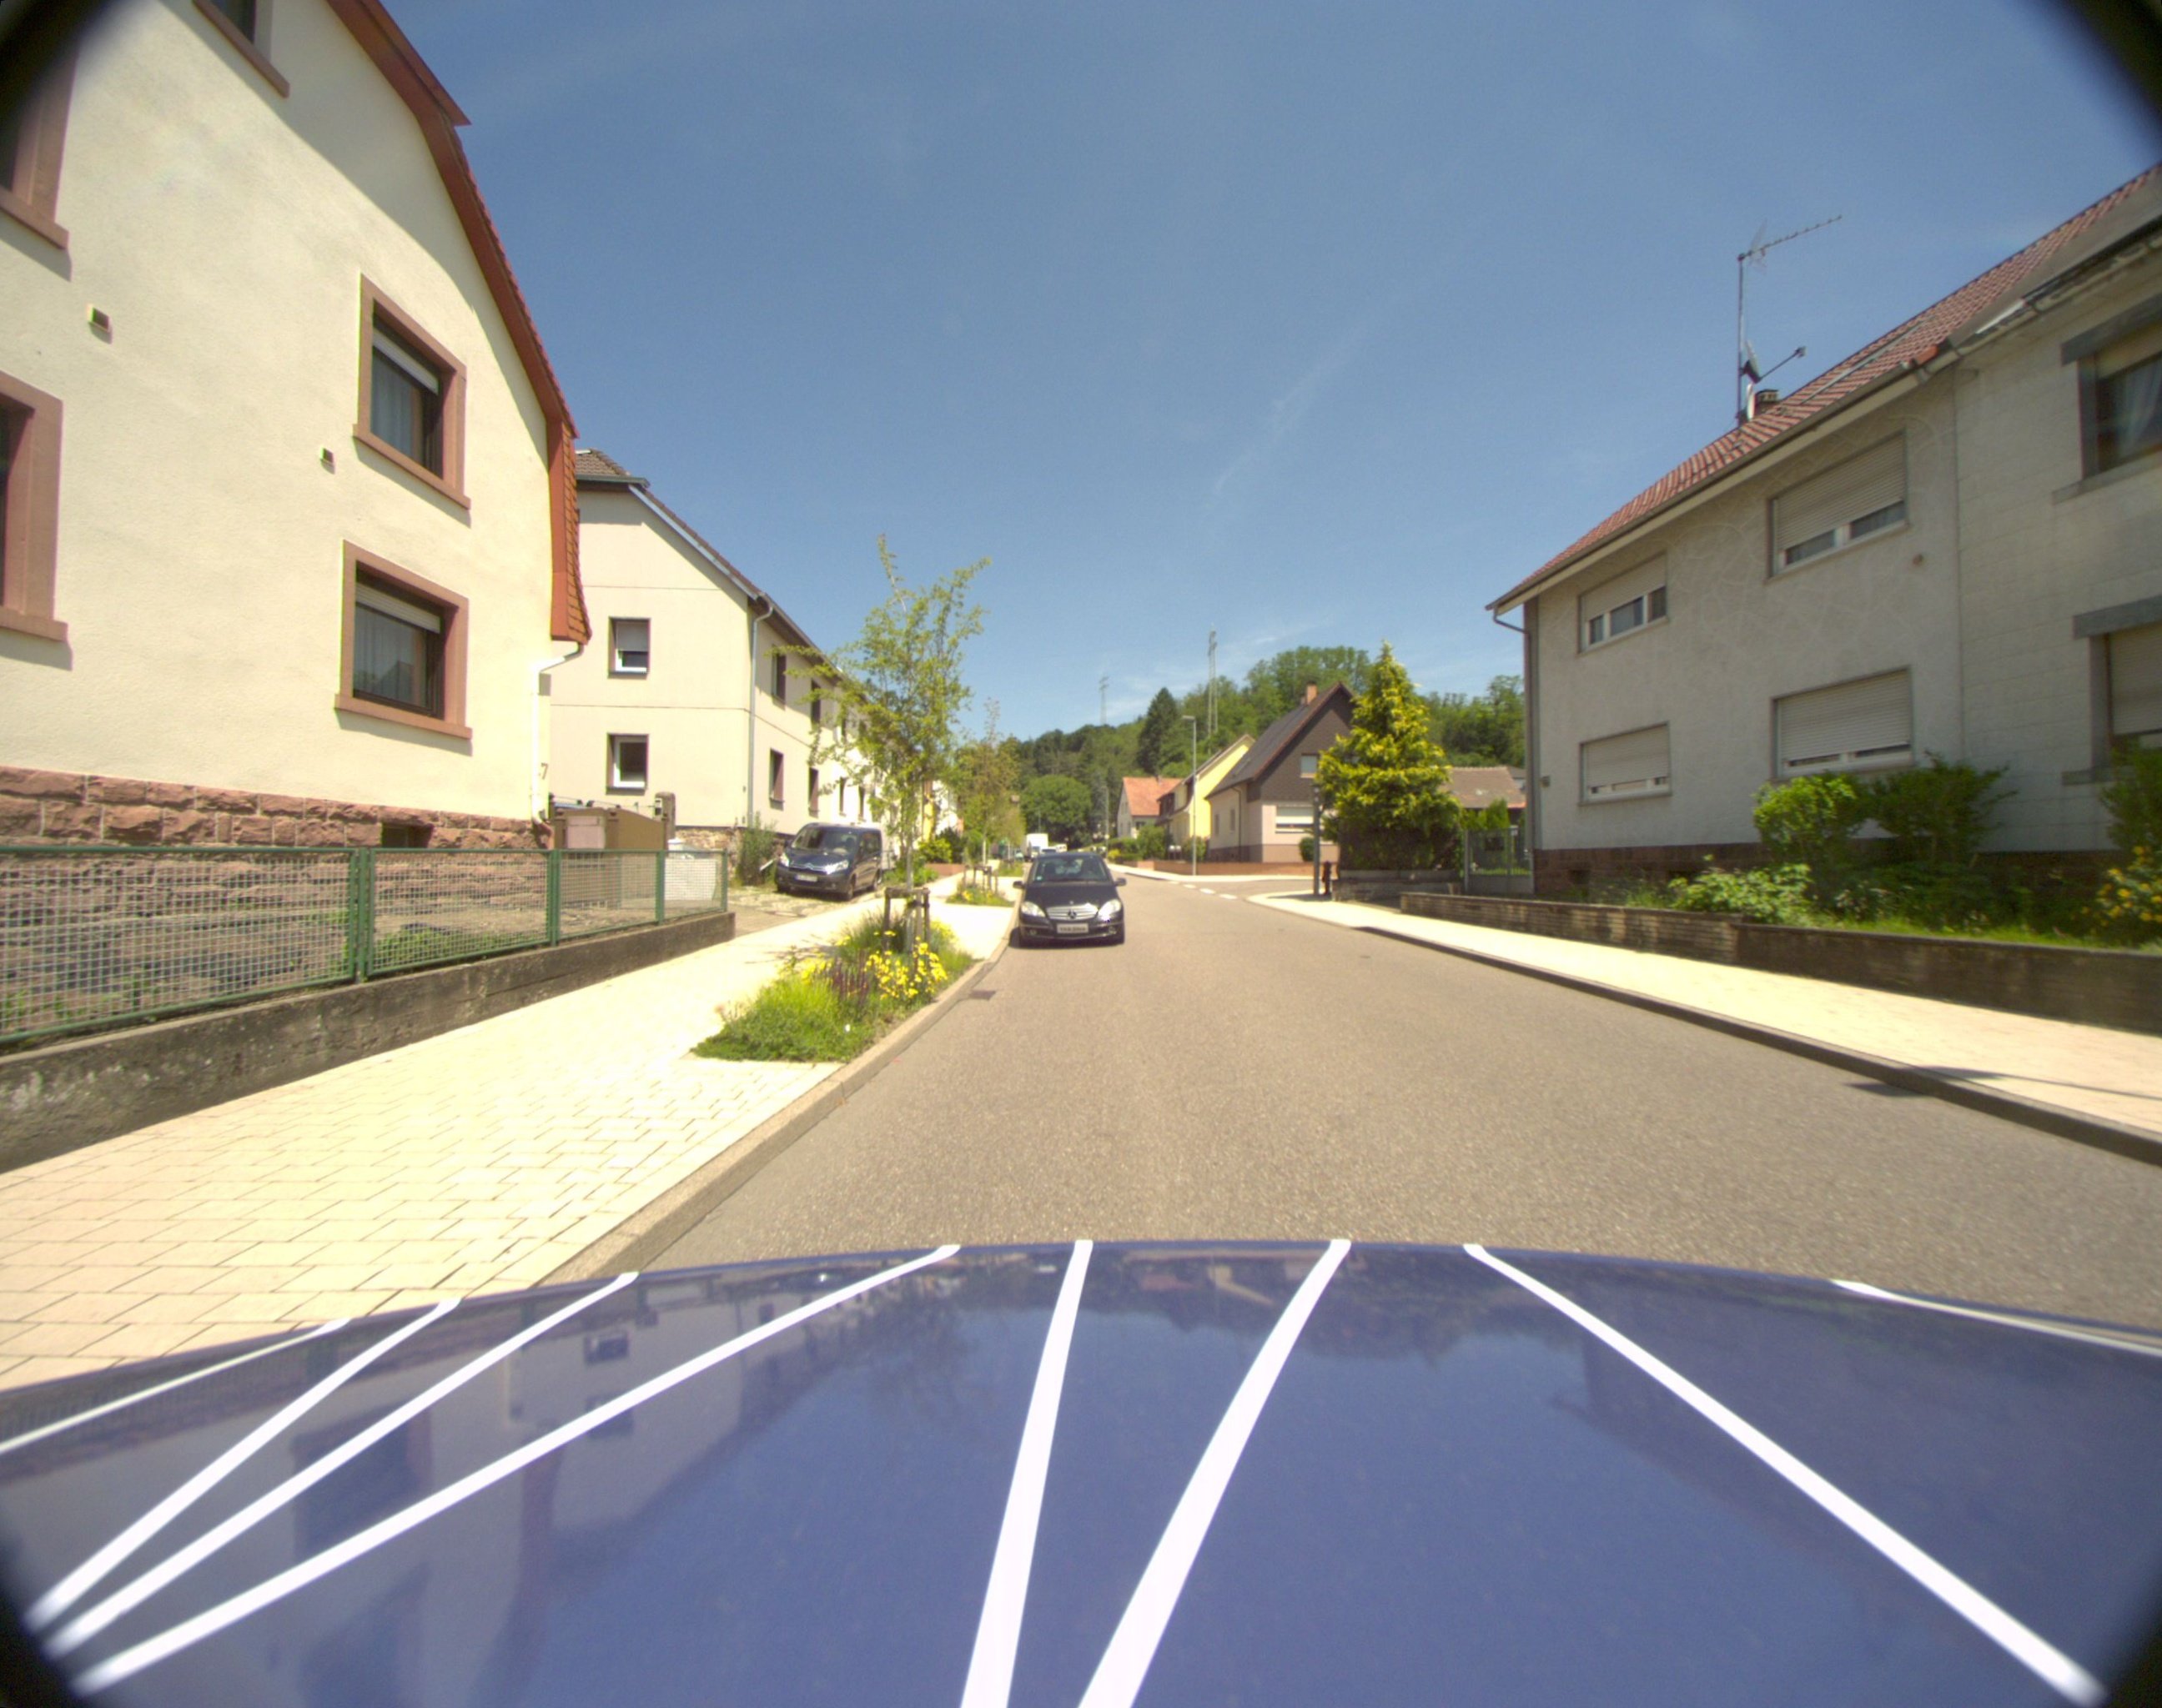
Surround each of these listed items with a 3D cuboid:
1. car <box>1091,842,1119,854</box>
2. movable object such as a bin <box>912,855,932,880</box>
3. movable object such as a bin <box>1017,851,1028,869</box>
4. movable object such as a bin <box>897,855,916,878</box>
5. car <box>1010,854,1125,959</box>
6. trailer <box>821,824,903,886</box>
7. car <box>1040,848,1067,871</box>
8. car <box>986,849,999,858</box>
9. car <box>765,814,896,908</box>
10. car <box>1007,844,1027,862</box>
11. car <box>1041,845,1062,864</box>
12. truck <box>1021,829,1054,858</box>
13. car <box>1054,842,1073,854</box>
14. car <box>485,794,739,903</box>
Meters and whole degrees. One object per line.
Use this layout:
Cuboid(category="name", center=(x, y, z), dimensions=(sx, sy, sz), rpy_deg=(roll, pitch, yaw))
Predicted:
Cuboid(category="car", center=(3.721, -1.001, 119.771), dimensions=(4.005, 1.779, 1.807), rpy_deg=(-2, 1, -26))
Cuboid(category="movable object such as a bin", center=(-7.320, 0.621, 35.042), dimensions=(0.686, 1.109, 0.812), rpy_deg=(3, 1, 2))
Cuboid(category="movable object such as a bin", center=(-4.596, 0.456, 59.271), dimensions=(0.794, 1.387, 0.924), rpy_deg=(-1, 1, -6))
Cuboid(category="movable object such as a bin", center=(-8.001, 0.555, 34.873), dimensions=(0.559, 0.980, 0.803), rpy_deg=(4, 1, 3))
Cuboid(category="car", center=(-0.272, 0.841, 14.167), dimensions=(1.790, 1.595, 4.074), rpy_deg=(-2, 0, -2))
Cuboid(category="trailer", center=(-7.385, 0.017, 25.715), dimensions=(1.320, 2.002, 2.278), rpy_deg=(0, 1, 39))
Cuboid(category="car", center=(-2.022, 0.358, 54.857), dimensions=(1.715, 1.595, 3.877), rpy_deg=(0, 1, -6))
Cuboid(category="car", center=(-13.267, -0.086, 113.651), dimensions=(1.677, 1.368, 3.995), rpy_deg=(1, 0, -12))
Cuboid(category="car", center=(-6.601, 0.151, 20.664), dimensions=(1.857, 1.959, 4.772), rpy_deg=(11, 0, -3))
Cuboid(category="car", center=(-6.742, -0.143, 79.863), dimensions=(1.861, 1.832, 4.667), rpy_deg=(1, 1, -7))
Cuboid(category="car", center=(-2.973, 0.043, 75.130), dimensions=(1.969, 1.823, 4.463), rpy_deg=(1, 0, -3))
Cuboid(category="truck", center=(-5.590, -1.297, 96.530), dimensions=(2.809, 3.394, 8.109), rpy_deg=(2, 1, -12))
Cuboid(category="car", center=(-2.872, -0.973, 121.220), dimensions=(1.706, 1.938, 3.992), rpy_deg=(-2, 1, -22))
Cuboid(category="car", center=(-9.697, -0.115, 15.985), dimensions=(3.998, 1.755, 1.890), rpy_deg=(6, 1, -3))
